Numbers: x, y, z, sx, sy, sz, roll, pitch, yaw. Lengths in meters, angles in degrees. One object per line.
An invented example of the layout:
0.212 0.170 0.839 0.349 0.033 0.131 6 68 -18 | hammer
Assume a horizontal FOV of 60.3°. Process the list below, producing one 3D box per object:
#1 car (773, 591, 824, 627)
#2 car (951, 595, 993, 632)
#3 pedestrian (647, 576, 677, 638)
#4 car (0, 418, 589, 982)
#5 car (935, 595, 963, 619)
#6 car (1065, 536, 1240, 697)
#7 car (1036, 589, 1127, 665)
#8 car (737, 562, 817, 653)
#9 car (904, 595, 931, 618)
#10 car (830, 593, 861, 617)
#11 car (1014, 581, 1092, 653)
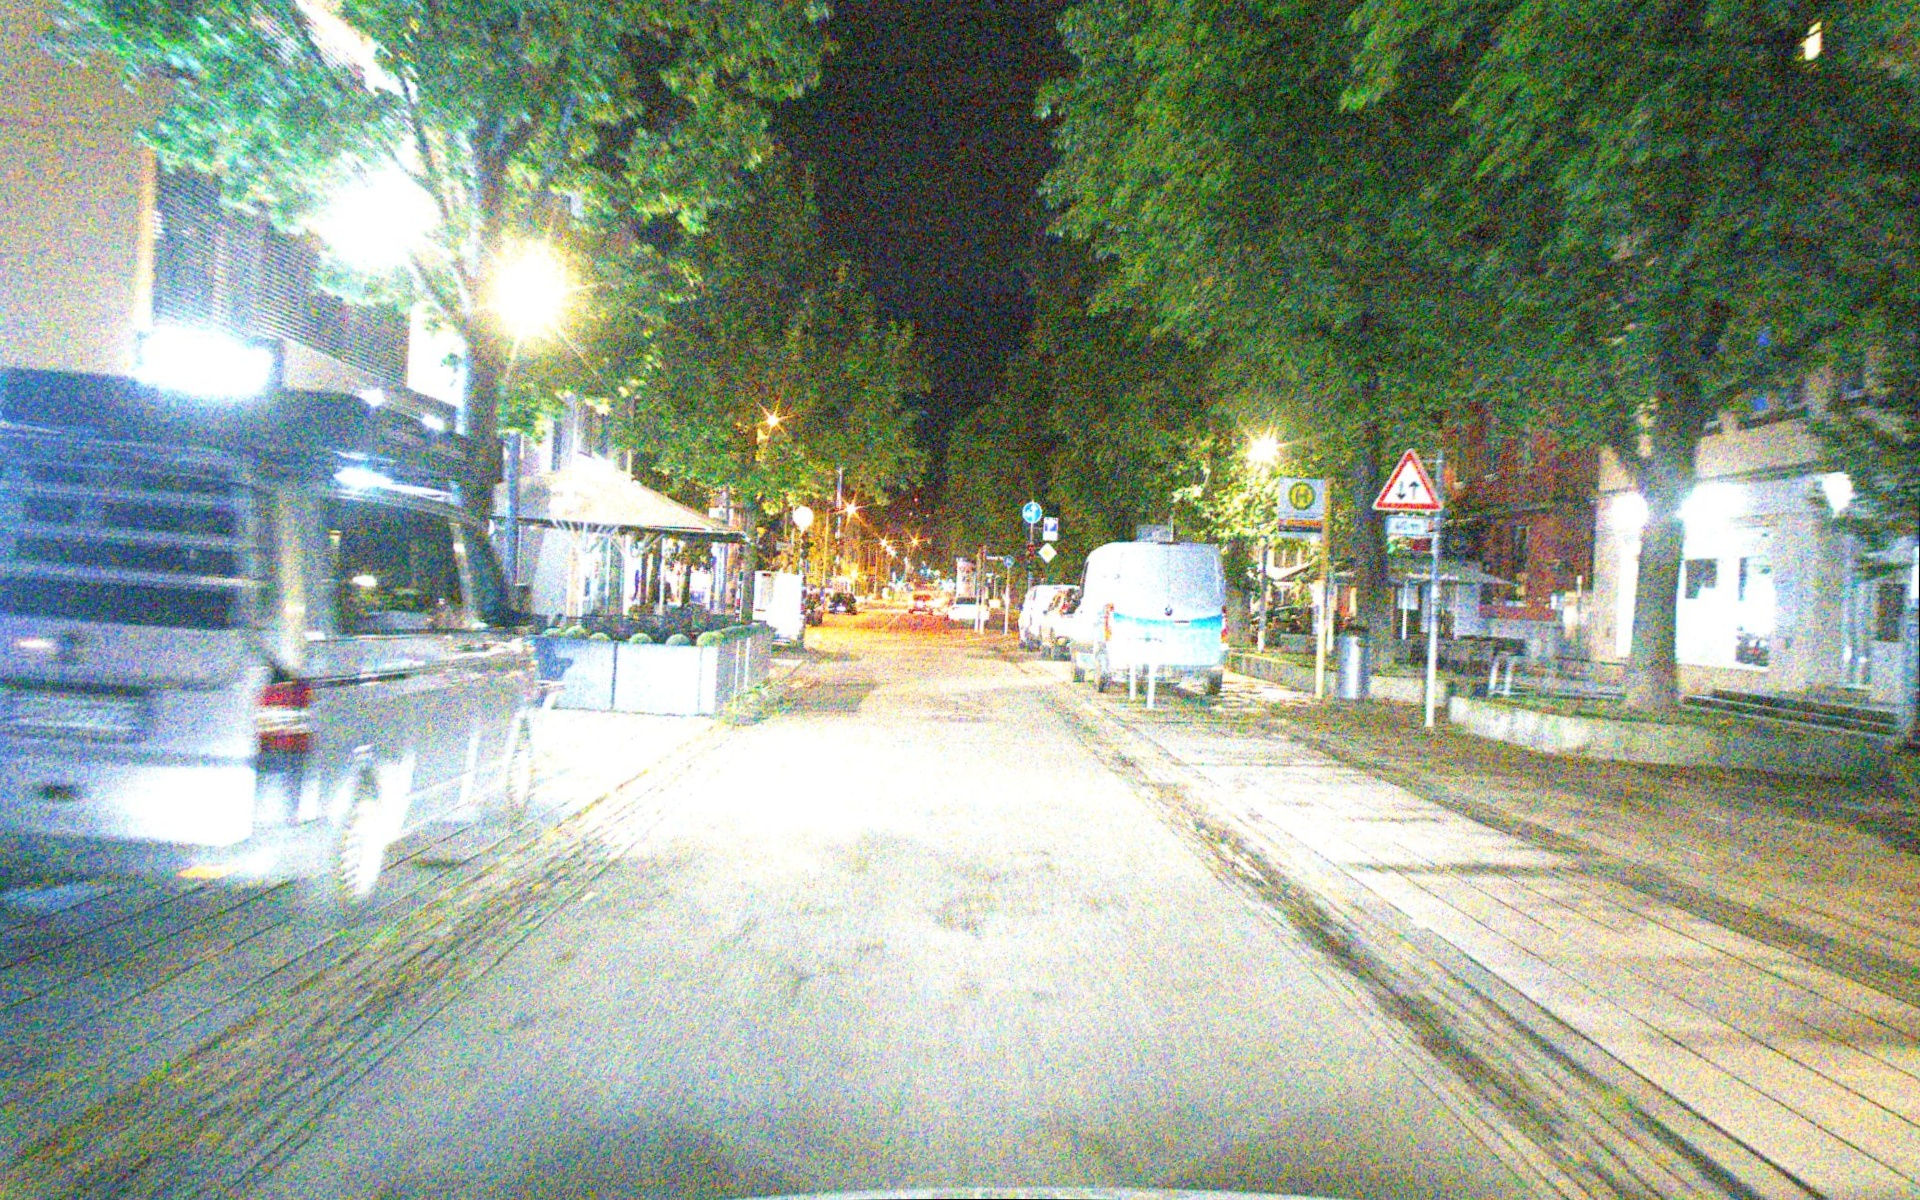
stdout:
-7.246 0.392 74.516 1.770 1.449 4.920 4 0 -1 | car
0.506 0.575 73.811 1.781 1.526 3.999 2 0 -1 | car
-8.589 0.188 47.753 0.655 1.749 0.908 2 0 -1 | pedestrian
-3.429 0.341 8.605 1.886 1.999 5.075 4 0 -2 | car
-0.702 0.419 106.471 1.728 1.439 4.807 2 0 0 | car
3.082 0.243 27.582 2.091 2.367 5.150 2 0 -2 | car
2.904 0.619 40.225 1.650 1.688 4.294 2 0 -3 | car
-4.797 0.176 43.412 1.817 2.123 5.083 4 0 -6 | car
-3.235 0.463 125.736 1.953 1.672 3.999 1 0 -1 | car
-7.735 0.324 112.186 1.706 1.438 4.495 3 0 0 | car
2.551 0.447 46.324 1.753 1.854 4.578 2 0 -2 | car
